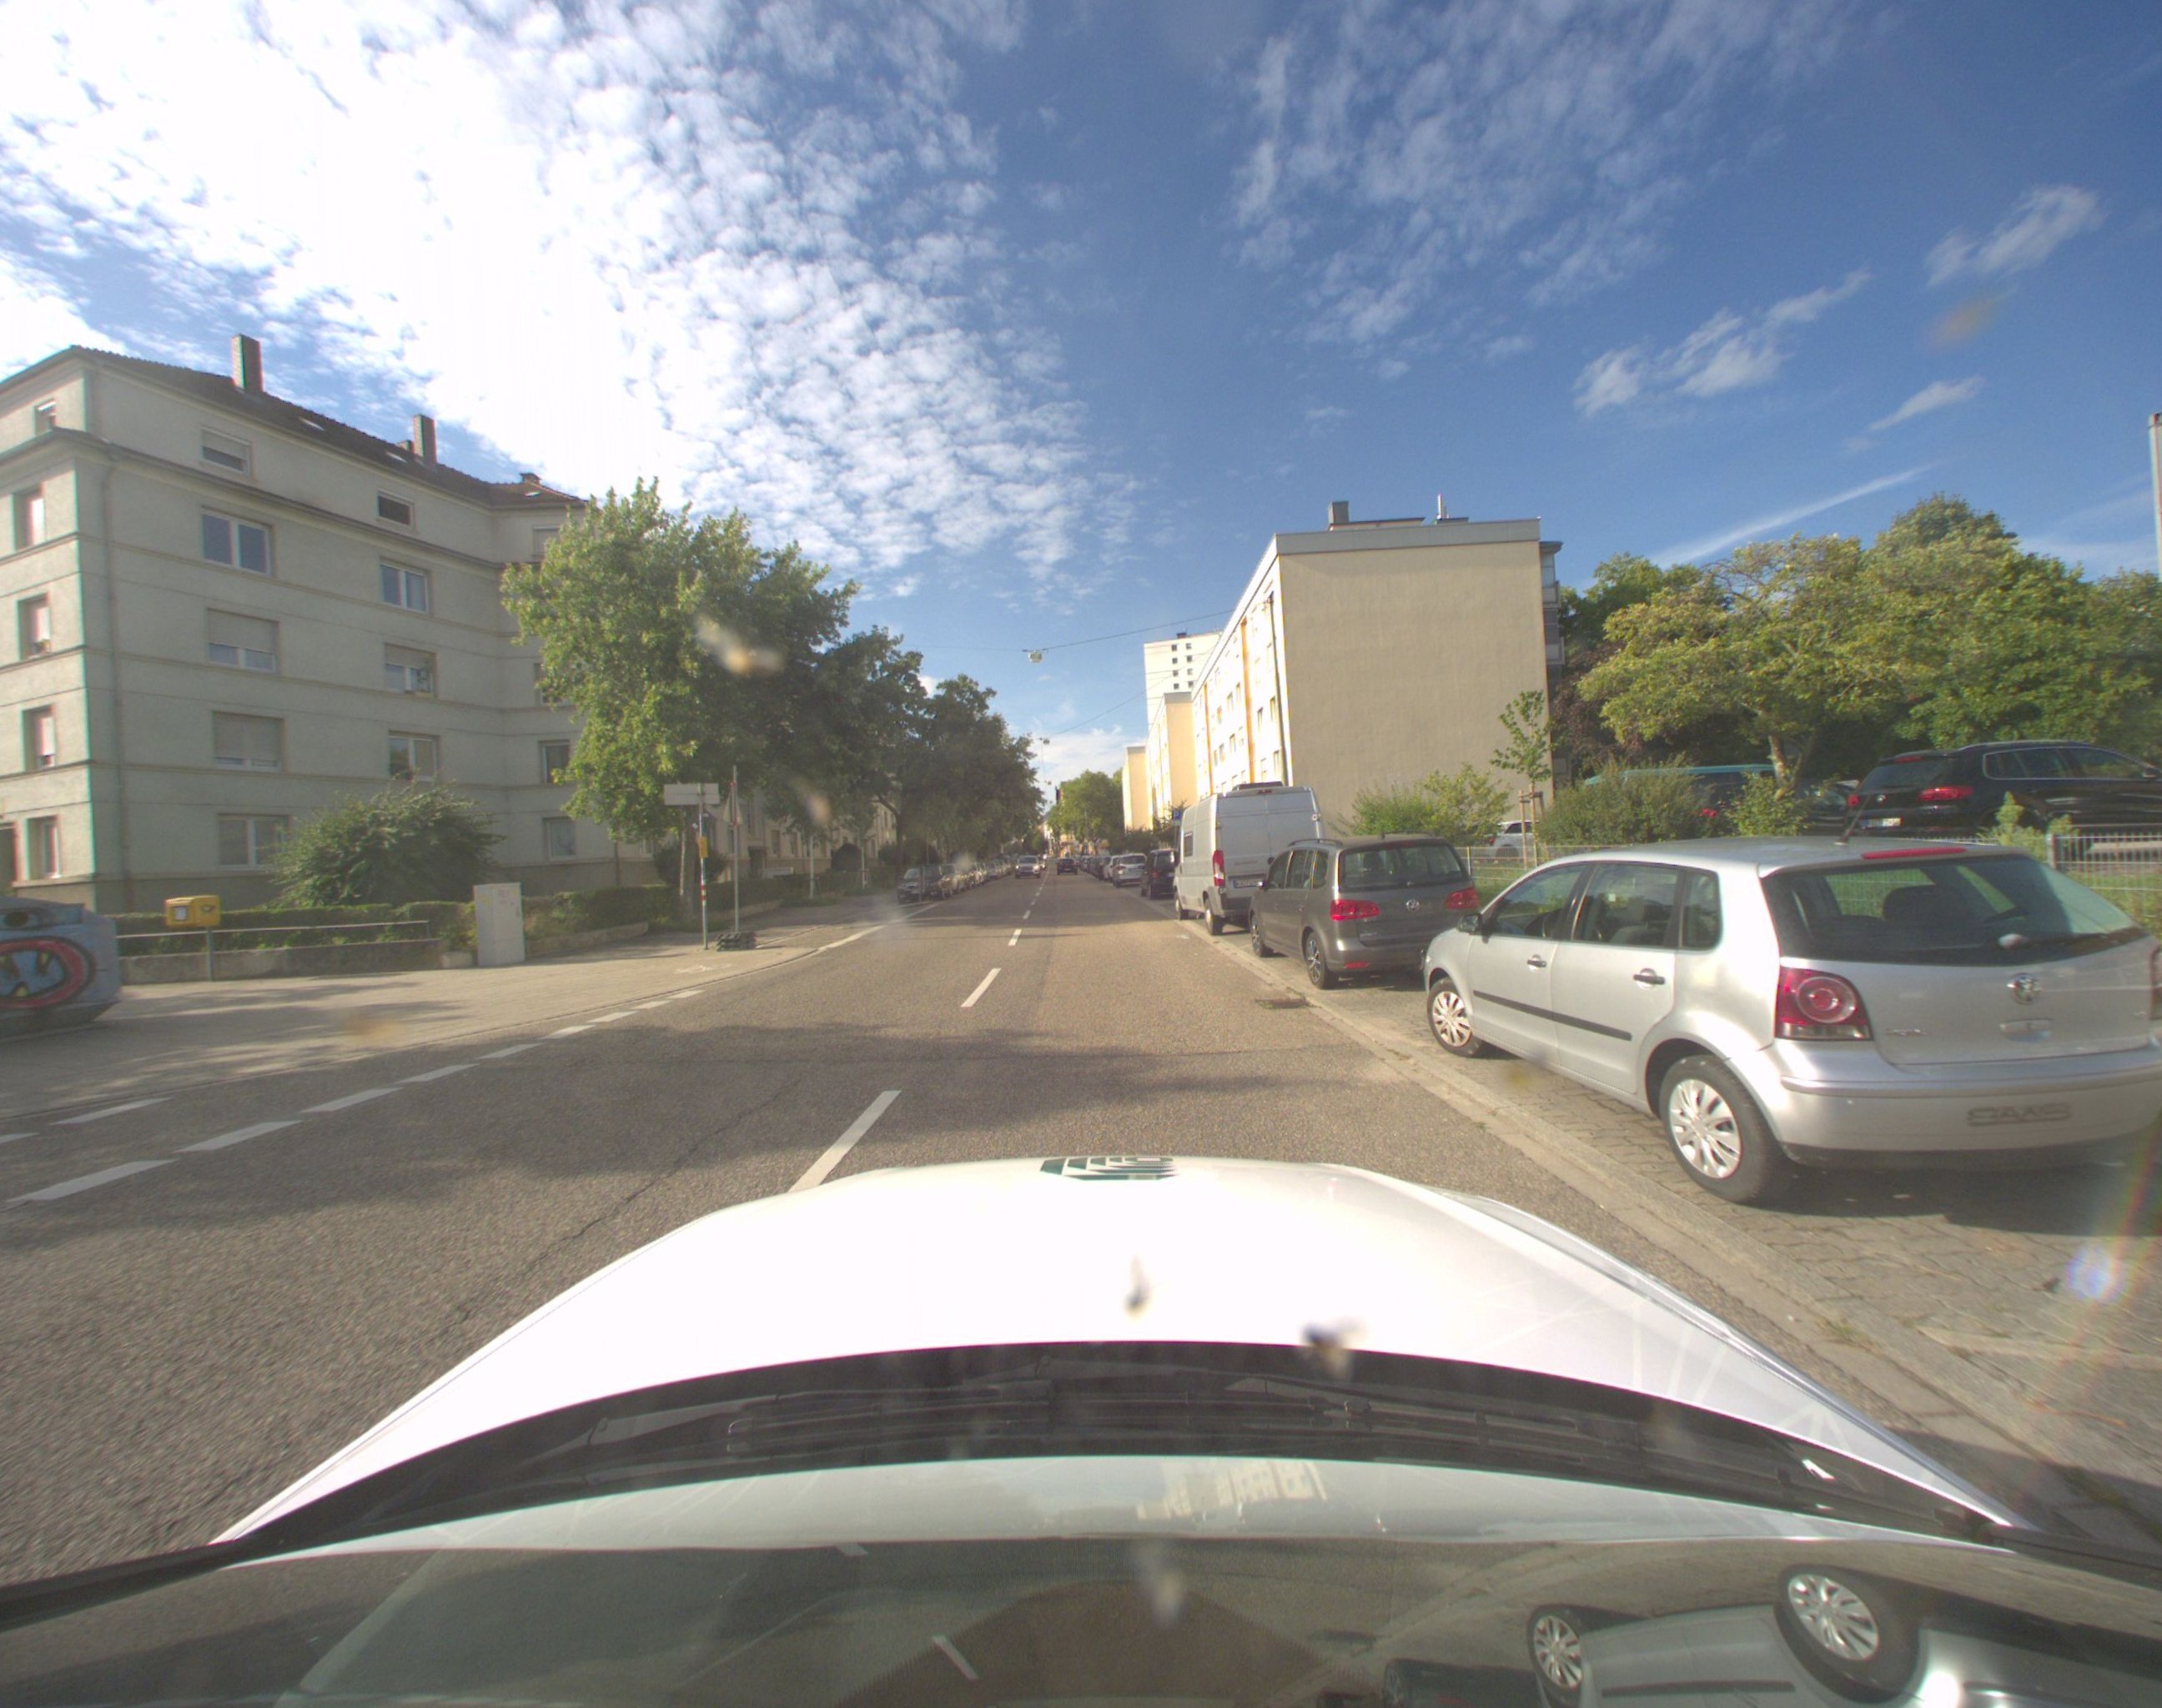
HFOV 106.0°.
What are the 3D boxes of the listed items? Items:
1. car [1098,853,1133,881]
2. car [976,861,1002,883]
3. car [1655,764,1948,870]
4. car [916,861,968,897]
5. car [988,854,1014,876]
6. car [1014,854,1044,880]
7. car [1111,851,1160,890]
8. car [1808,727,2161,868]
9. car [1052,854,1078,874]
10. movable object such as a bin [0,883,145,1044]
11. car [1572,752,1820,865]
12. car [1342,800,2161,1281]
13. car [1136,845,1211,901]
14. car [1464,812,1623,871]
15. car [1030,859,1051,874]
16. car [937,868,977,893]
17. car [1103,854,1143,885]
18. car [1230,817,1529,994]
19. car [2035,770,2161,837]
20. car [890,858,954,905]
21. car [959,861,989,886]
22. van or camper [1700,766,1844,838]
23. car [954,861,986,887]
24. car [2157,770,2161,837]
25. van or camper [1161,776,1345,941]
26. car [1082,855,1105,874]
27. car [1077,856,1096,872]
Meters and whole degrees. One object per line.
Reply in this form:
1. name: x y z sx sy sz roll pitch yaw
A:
1. car: 2.097 0.776 50.381 1.987 1.574 4.000 -4 0 1
2. car: -7.085 1.349 62.816 1.804 1.561 3.428 -4 0 -5
3. car: 14.359 -0.699 16.456 3.968 1.738 2.003 -4 0 4
4. car: -6.464 1.142 38.215 1.990 1.451 3.898 -4 0 -5
5. car: -7.747 1.057 79.485 1.987 2.013 4.000 -4 0 1
6. car: -3.908 0.955 60.535 2.052 1.663 3.919 -4 0 -5
7. car: 2.466 0.714 37.833 1.987 1.574 4.000 -4 0 1
8. car: 13.505 -0.790 11.528 4.427 1.621 2.003 -4 0 5
9. car: -1.409 0.877 69.988 1.990 1.570 3.993 -2 0 -5
10. movable object such as a bin: -13.112 1.269 9.634 3.080 1.708 1.416 -2 -1 15
11. car: 14.141 -0.998 18.962 4.100 2.186 2.003 -4 0 4
12. car: 3.357 0.624 5.085 2.007 1.475 4.805 -5 -1 3
13. car: 2.989 0.588 27.162 1.987 1.574 4.000 -4 0 1
14. car: 14.923 -0.387 26.470 3.967 1.585 2.004 -4 0 6
15. car: -4.653 1.418 92.964 1.993 1.570 3.987 -2 0 -9
16. car: -6.590 1.385 43.686 1.804 1.116 3.585 -4 0 -5
17. car: 2.286 0.842 45.614 1.987 1.530 4.000 -4 0 1
18. car: 3.372 0.514 10.287 1.988 1.615 4.405 -4 0 -2
19. car: 27.615 -1.358 20.855 3.974 1.552 2.000 -4 0 0
20. car: -6.346 1.047 32.847 1.990 1.640 3.993 -4 0 -5
21. car: -7.416 1.304 56.550 1.804 1.561 3.428 -4 0 -5
22. van or camper: 31.593 -2.281 37.504 2.319 2.874 5.127 -4 0 4
23. car: -6.644 1.189 49.106 1.635 1.390 3.428 -4 0 -5
24. car: 27.618 -1.344 18.378 3.974 1.596 2.000 -4 0 0
25. van or camper: 3.146 0.083 16.332 2.204 2.607 5.366 -4 0 -2
26. car: 1.143 0.926 75.436 1.987 1.574 4.000 -4 0 1
27. car: 0.653 1.173 93.716 1.987 1.684 4.000 -4 0 1
